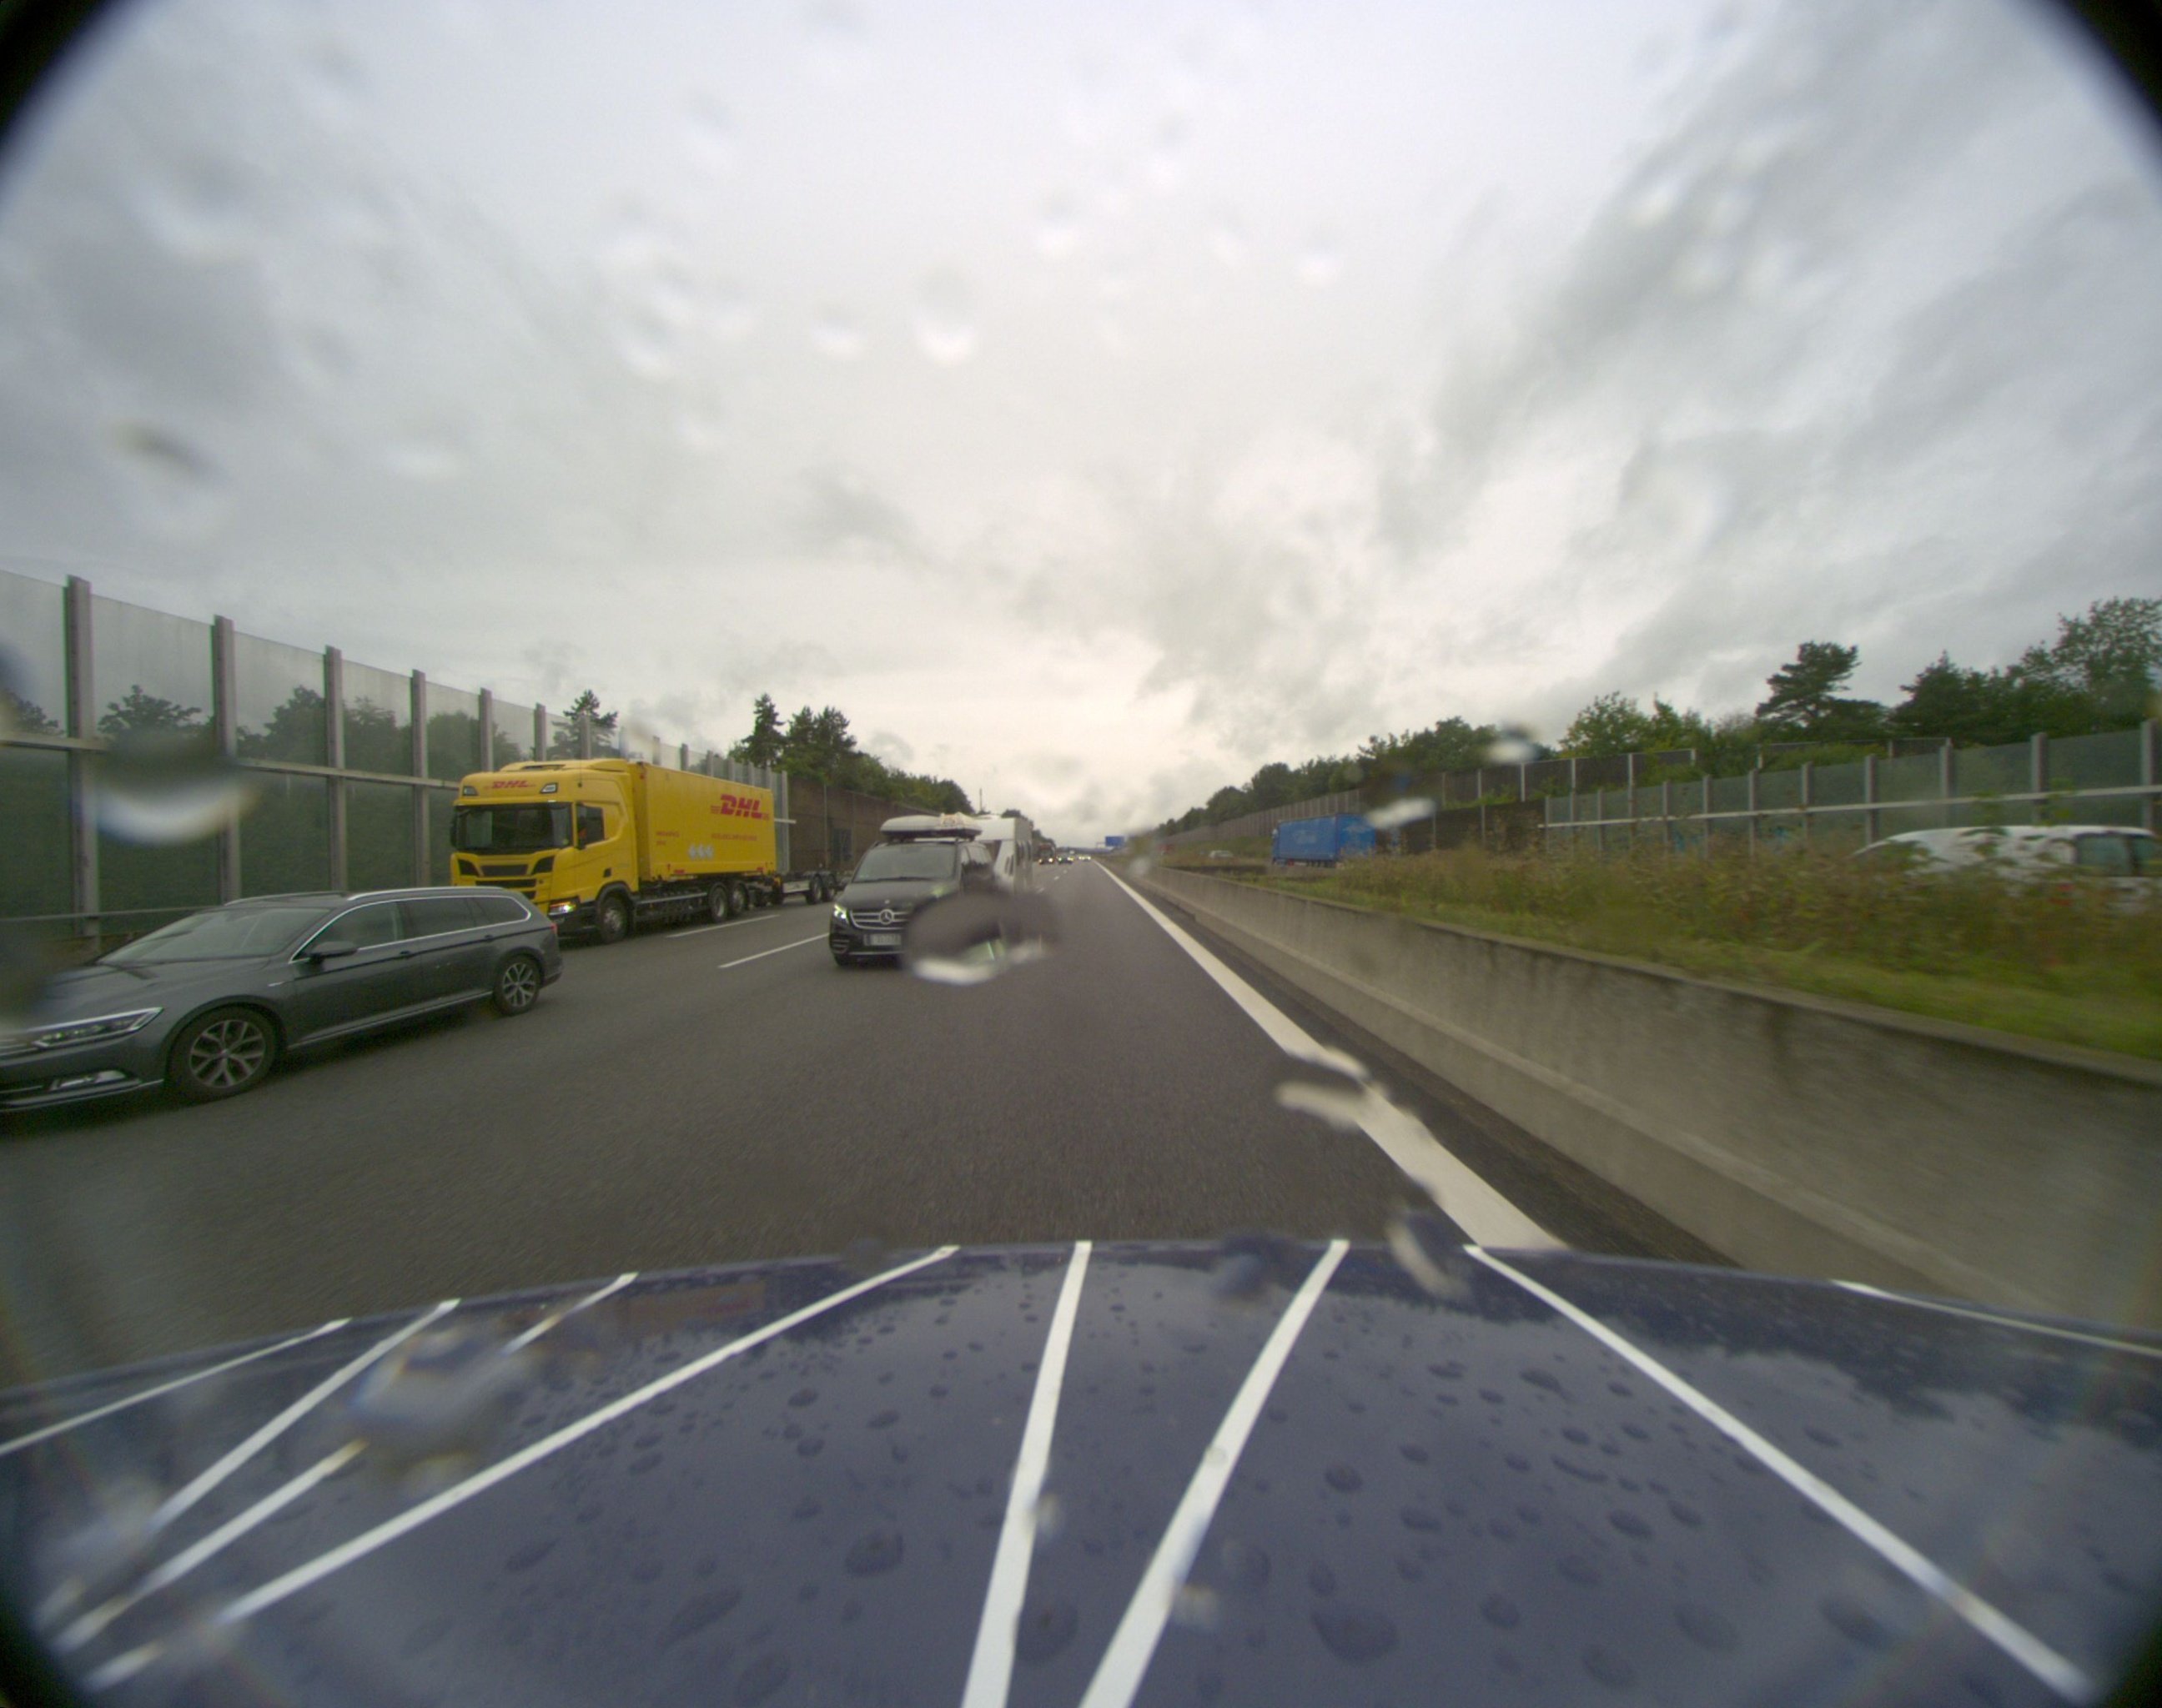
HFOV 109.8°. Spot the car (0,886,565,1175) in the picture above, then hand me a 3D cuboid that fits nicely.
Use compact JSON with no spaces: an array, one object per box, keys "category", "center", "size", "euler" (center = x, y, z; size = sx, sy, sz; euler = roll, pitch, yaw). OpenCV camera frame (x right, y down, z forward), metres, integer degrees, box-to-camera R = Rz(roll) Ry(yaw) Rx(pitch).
[{"category":"car","center":[-6.917,1.158,6.652],"size":[1.667,1.448,4.470],"euler":[-3,1,0]}]

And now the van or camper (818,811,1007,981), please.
[{"category":"van or camper","center":[-2.568,0.566,13.210],"size":[1.895,2.256,5.679],"euler":[-2,0,0]}]

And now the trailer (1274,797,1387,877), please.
[{"category":"trailer","center":[17.382,-1.154,54.502],"size":[3.225,4.857,13.524],"euler":[-3,1,-1]}]

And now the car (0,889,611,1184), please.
[{"category":"car","center":[-6.987,1.208,6.971],"size":[1.944,1.419,5.289],"euler":[-3,0,1]}]

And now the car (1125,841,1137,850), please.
[{"category":"car","center":[11.955,-2.019,180.693],"size":[2.380,2.180,7.723],"euler":[-1,1,1]}]

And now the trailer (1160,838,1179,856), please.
[{"category":"trailer","center":[19.400,-1.509,166.910],"size":[2.733,3.662,12.562],"euler":[-1,0,1]}]

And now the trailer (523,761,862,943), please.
[{"category":"trailer","center":[-11.078,-0.124,25.333],"size":[2.658,3.930,16.683],"euler":[-3,1,0]}]

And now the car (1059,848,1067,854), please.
[{"category":"car","center":[-5.065,-0.799,211.797],"size":[1.998,1.747,4.000],"euler":[-2,0,1]}]

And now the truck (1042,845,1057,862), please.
[{"category":"truck","center":[-5.920,-0.070,143.092],"size":[2.617,3.218,4.632],"euler":[-1,0,1]}]

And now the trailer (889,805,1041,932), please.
[{"category":"trailer","center":[-2.645,0.298,19.805],"size":[2.728,2.627,7.511],"euler":[-1,0,0]}]

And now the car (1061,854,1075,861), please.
[{"category":"car","center":[-2.145,0.508,124.007],"size":[2.061,1.020,3.438],"euler":[-3,1,1]}]

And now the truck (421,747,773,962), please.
[{"category":"truck","center":[-11.018,-0.036,19.018],"size":[2.692,3.935,9.324],"euler":[-3,1,-1]}]

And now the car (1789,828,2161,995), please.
[{"category":"car","center":[13.650,0.679,11.467],"size":[1.998,2.002,4.197],"euler":[-2,1,1]}]

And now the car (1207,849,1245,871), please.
[{"category":"car","center":[10.586,0.386,55.937],"size":[1.998,1.510,4.819],"euler":[-2,0,2]}]

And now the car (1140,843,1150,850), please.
[{"category":"car","center":[20.568,-2.340,243.410],"size":[2.833,2.245,4.733],"euler":[-3,1,1]}]

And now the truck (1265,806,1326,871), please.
[{"category":"truck","center":[17.278,-1.226,61.667],"size":[3.196,4.830,5.417],"euler":[-3,1,0]}]

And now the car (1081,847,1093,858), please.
[{"category":"car","center":[1.327,-0.367,173.323],"size":[2.680,2.340,5.807],"euler":[-1,0,-2]}]
